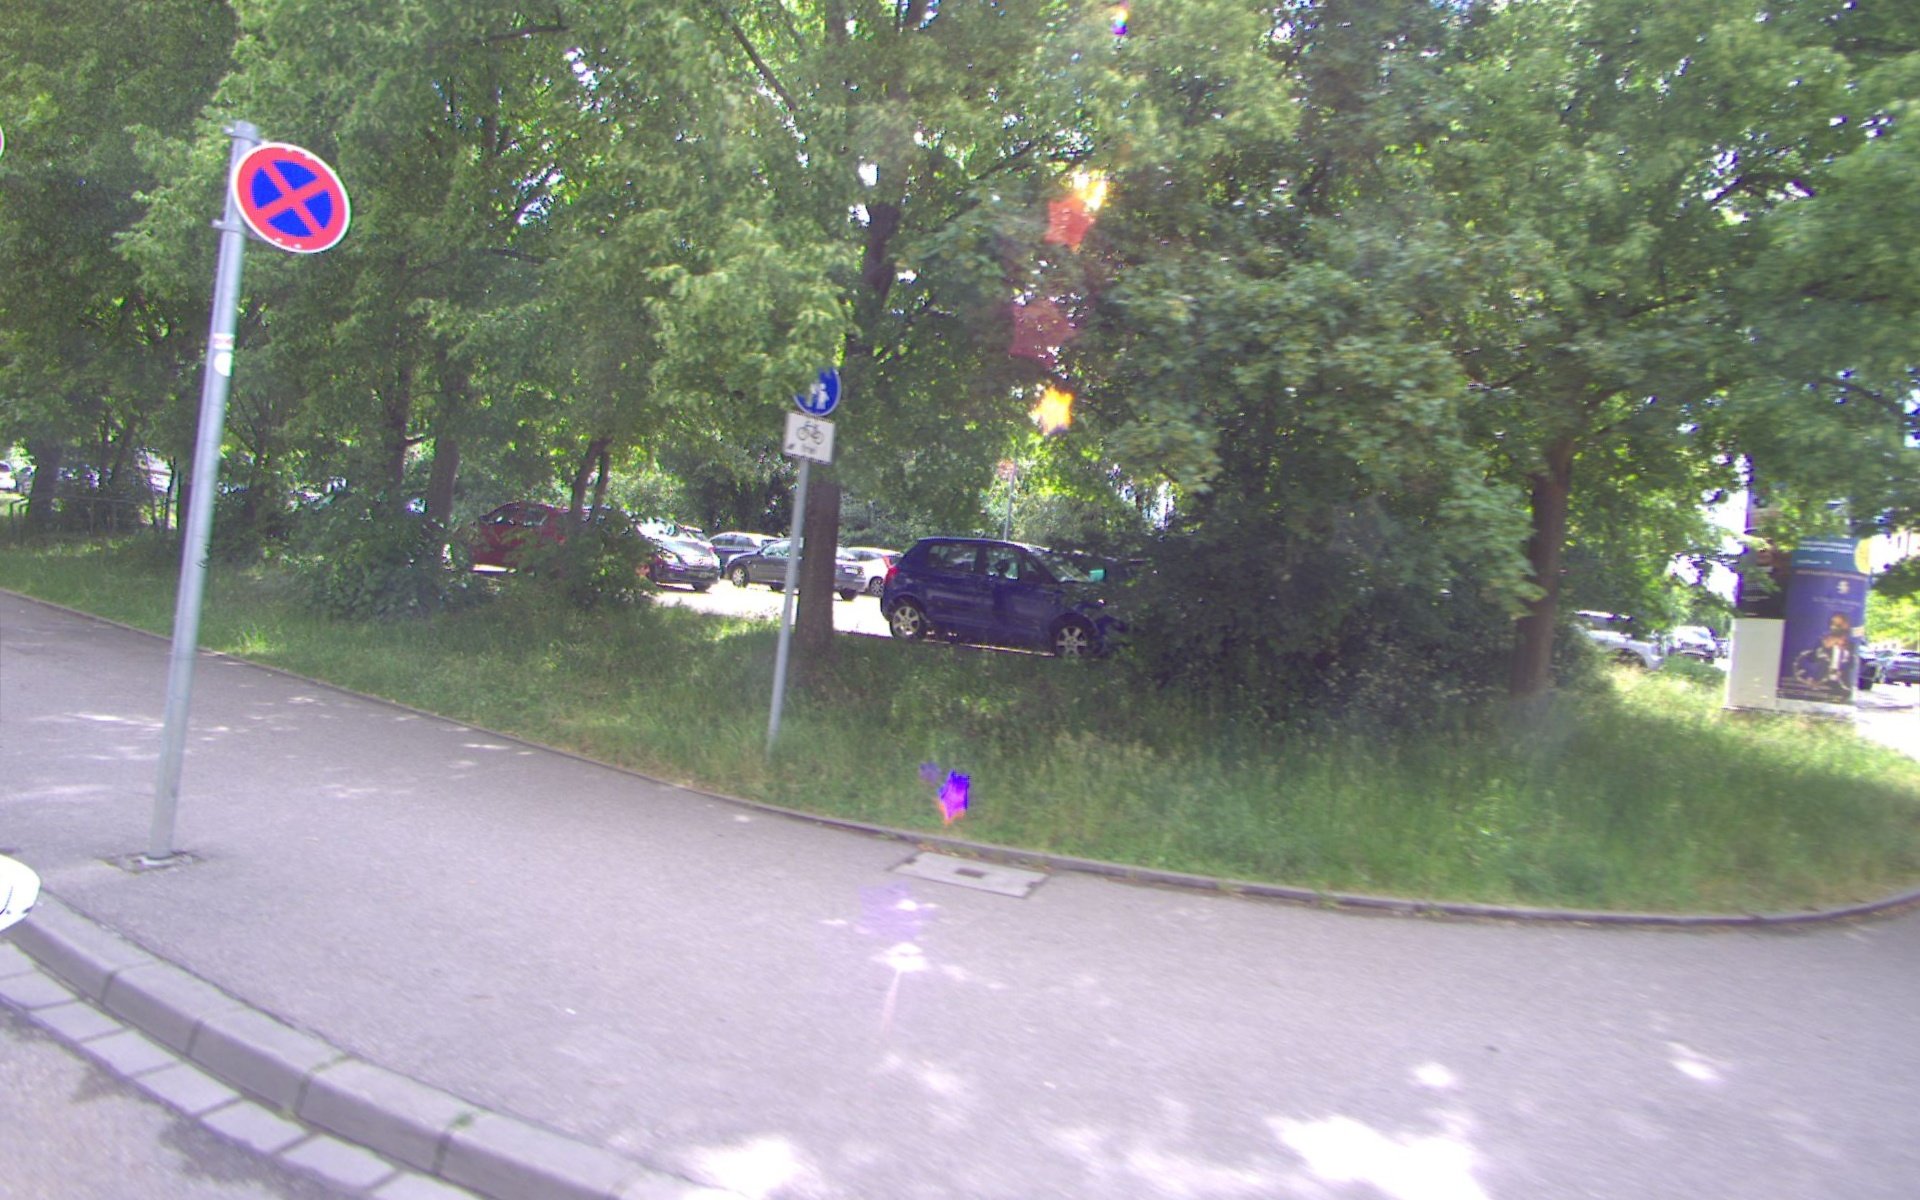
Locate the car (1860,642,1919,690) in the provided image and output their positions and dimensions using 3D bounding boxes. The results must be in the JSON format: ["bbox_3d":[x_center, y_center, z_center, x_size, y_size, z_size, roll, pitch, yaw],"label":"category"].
[{"bbox_3d":[39.321,2.774,41.786,1.918,1.740,3.988,7,3,30],"label":"car"}]

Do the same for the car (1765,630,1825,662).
[{"bbox_3d":[50.179,2.752,60.526,1.966,1.606,3.989,7,3,30],"label":"car"}]

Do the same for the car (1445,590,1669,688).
[{"bbox_3d":[12.946,0.805,22.027,3.915,1.606,1.637,7,2,30],"label":"car"}]

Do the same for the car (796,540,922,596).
[{"bbox_3d":[-3.211,-1.016,31.812,3.601,1.345,1.632,7,2,31],"label":"car"}]

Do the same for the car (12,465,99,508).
[{"bbox_3d":[-39.215,-4.944,43.585,4.280,1.461,1.613,7,2,32],"label":"car"}]

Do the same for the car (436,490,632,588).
[{"bbox_3d":[-8.336,-1.204,19.639,3.601,1.520,1.662,7,2,31],"label":"car"}]

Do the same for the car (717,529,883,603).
[{"bbox_3d":[-4.086,-0.869,25.616,3.793,1.461,1.756,7,2,29],"label":"car"}]

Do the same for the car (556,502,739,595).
[{"bbox_3d":[-6.782,-1.128,21.783,3.601,1.603,1.753,7,2,31],"label":"car"}]

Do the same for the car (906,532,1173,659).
[{"bbox_3d":[1.246,-0.116,16.198,3.839,1.657,1.679,5,3,29],"label":"car"}]

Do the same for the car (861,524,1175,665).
[{"bbox_3d":[0.767,-0.079,13.697,3.749,1.530,1.827,5,0,29],"label":"car"}]

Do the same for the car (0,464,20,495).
[{"bbox_3d":[-48.711,-6.152,50.033,4.055,1.439,1.842,7,2,32],"label":"car"}]

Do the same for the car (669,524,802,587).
[{"bbox_3d":[-7.785,-1.547,34.865,4.030,1.644,2.062,7,0,30],"label":"car"}]

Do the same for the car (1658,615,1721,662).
[{"bbox_3d":[36.158,1.868,49.932,1.966,2.041,3.987,7,3,31],"label":"car"}]

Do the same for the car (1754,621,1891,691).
[{"bbox_3d":[24.179,1.523,28.395,1.966,1.606,4.317,7,2,30],"label":"car"}]
